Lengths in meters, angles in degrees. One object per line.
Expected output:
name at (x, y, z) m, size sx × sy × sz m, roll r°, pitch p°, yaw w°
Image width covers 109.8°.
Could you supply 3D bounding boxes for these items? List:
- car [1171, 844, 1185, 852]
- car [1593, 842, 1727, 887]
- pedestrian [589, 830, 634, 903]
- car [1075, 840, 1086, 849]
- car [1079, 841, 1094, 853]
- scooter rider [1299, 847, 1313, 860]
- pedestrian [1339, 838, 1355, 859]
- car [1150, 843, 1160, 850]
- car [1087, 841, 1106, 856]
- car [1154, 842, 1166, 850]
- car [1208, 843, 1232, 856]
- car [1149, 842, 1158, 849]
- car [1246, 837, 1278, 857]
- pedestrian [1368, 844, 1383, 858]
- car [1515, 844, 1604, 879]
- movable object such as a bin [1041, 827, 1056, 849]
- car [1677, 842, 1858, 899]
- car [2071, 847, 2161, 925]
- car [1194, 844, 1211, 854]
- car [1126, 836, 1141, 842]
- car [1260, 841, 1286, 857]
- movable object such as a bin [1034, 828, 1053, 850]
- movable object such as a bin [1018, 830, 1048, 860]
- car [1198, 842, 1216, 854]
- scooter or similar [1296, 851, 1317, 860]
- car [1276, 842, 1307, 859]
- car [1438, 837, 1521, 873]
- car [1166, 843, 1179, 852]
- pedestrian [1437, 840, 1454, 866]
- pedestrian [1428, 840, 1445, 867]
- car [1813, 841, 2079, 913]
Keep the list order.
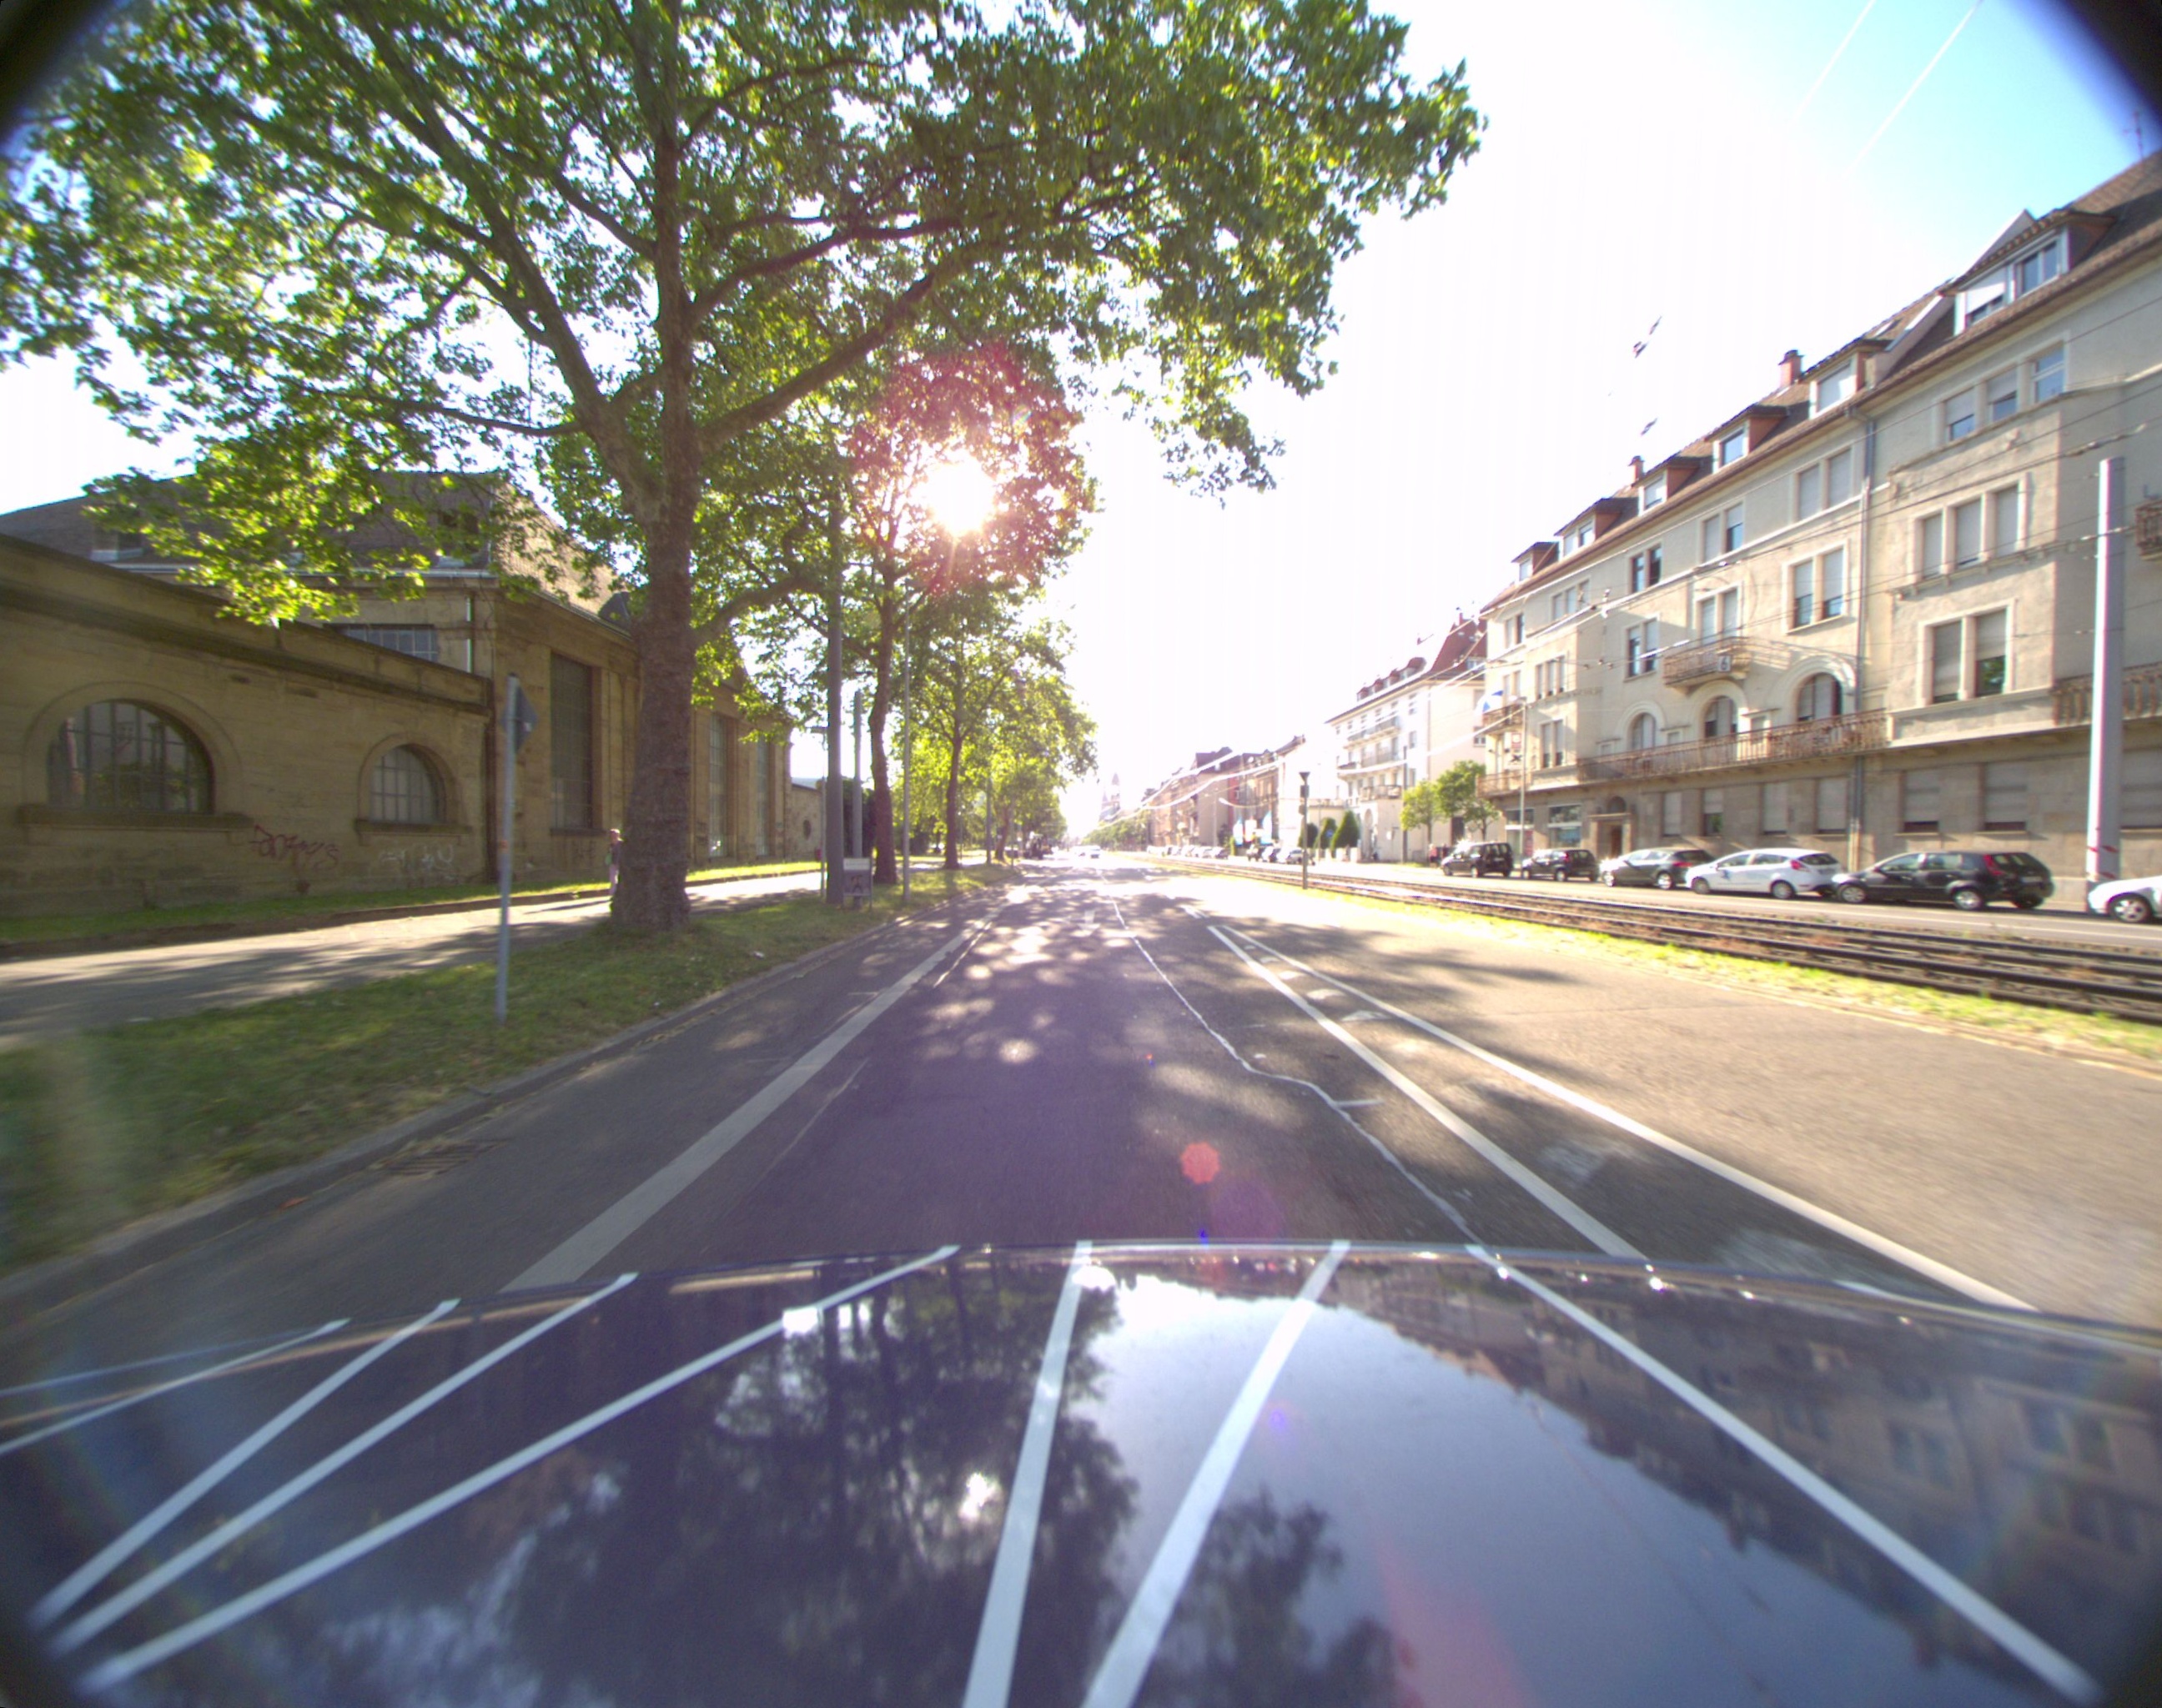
car at (18.134, -1.116, 141.876) m, size 1.926 × 1.529 × 4.625 m, roll -1°, pitch 1°, yaw -1°
car at (21.325, 0.336, 28.221) m, size 1.639 × 1.460 × 4.157 m, roll -3°, pitch 1°, yaw -2°
pedestrian at (-11.301, 0.292, 18.307) m, size 0.609 × 1.672 × 0.636 m, roll 4°, pitch 1°, yaw -4°
car at (-0.056, -1.692, 132.133) m, size 1.799 × 1.501 × 3.999 m, roll -2°, pitch 1°, yaw -2°
car at (0.758, -0.976, 106.139) m, size 1.799 × 1.501 × 3.999 m, roll -2°, pitch 1°, yaw -2°
scooter rider at (19.165, -0.055, 64.790) m, size 0.976 × 1.083 × 0.809 m, roll 1°, pitch 1°, yaw 30°
pedestrian at (23.205, -0.495, 66.279) m, size 0.995 × 1.768 × 0.933 m, roll -2°, pitch 2°, yaw -16°
car at (16.975, -1.735, 174.844) m, size 1.664 × 1.437 × 3.764 m, roll -2°, pitch 1°, yaw -2°
car at (1.650, -0.603, 81.401) m, size 1.799 × 1.501 × 3.999 m, roll -2°, pitch 1°, yaw -2°
car at (16.958, -1.726, 163.176) m, size 1.799 × 1.797 × 3.998 m, roll -2°, pitch 1°, yaw -3°
car at (18.793, -0.619, 102.786) m, size 1.926 × 1.452 × 4.840 m, roll -5°, pitch 1°, yaw -3°
car at (17.058, -1.939, 179.305) m, size 1.799 × 1.634 × 4.629 m, roll -2°, pitch 1°, yaw 1°
car at (19.768, -0.792, 83.290) m, size 2.082 × 1.999 × 5.590 m, roll -2°, pitch 1°, yaw 0°
pedestrian at (25.442, -0.246, 65.681) m, size 0.879 × 1.180 × 0.894 m, roll -2°, pitch 2°, yaw -9°
car at (21.307, 0.283, 33.991) m, size 1.632 × 1.383 × 3.507 m, roll -3°, pitch 1°, yaw -3°
movable object such as a bin at (-7.028, -3.483, 164.966) m, size 2.922 × 4.584 × 7.594 m, roll 3°, pitch 1°, yaw -4°
car at (21.021, 0.443, 23.508) m, size 1.640 × 1.460 × 3.980 m, roll -6°, pitch 1°, yaw -8°
car at (21.687, 0.620, 13.931) m, size 1.639 × 1.460 × 4.158 m, roll -1°, pitch 1°, yaw -1°
car at (18.790, -0.821, 117.876) m, size 1.925 × 1.552 × 4.841 m, roll 0°, pitch 1°, yaw 1°
car at (15.604, -4.417, 224.485) m, size 3.991 × 1.502 × 1.802 m, roll -1°, pitch 2°, yaw 19°
car at (19.448, -0.496, 77.064) m, size 1.639 × 1.499 × 4.157 m, roll -2°, pitch 2°, yaw 0°
movable object such as a bin at (-7.226, -2.920, 145.447) m, size 3.348 × 3.953 × 7.594 m, roll 3°, pitch 1°, yaw -4°
movable object such as a bin at (-5.367, -1.054, 86.045) m, size 2.751 × 3.127 × 7.217 m, roll 3°, pitch 1°, yaw -1°
car at (18.543, -0.942, 112.101) m, size 1.925 × 1.685 × 4.841 m, roll -2°, pitch 1°, yaw 1°
scooter or similar at (19.201, 0.148, 64.777) m, size 1.565 × 0.766 × 0.809 m, roll 1°, pitch 1°, yaw 30°
car at (19.757, -0.360, 71.528) m, size 1.799 × 1.502 × 3.998 m, roll -2°, pitch 2°, yaw 0°
car at (20.881, 0.034, 40.007) m, size 1.867 × 1.776 × 4.400 m, roll -2°, pitch 1°, yaw -2°
car at (17.847, -1.300, 148.348) m, size 1.664 × 1.797 × 4.726 m, roll -2°, pitch 1°, yaw -3°
pedestrian at (23.698, -0.075, 49.392) m, size 0.855 × 1.687 × 0.592 m, roll 0°, pitch 3°, yaw 37°
pedestrian at (22.950, -0.042, 49.095) m, size 0.855 × 1.687 × 0.592 m, roll 0°, pitch 3°, yaw 37°
car at (21.493, 0.498, 19.173) m, size 1.640 × 1.460 × 4.155 m, roll -6°, pitch 1°, yaw -8°
